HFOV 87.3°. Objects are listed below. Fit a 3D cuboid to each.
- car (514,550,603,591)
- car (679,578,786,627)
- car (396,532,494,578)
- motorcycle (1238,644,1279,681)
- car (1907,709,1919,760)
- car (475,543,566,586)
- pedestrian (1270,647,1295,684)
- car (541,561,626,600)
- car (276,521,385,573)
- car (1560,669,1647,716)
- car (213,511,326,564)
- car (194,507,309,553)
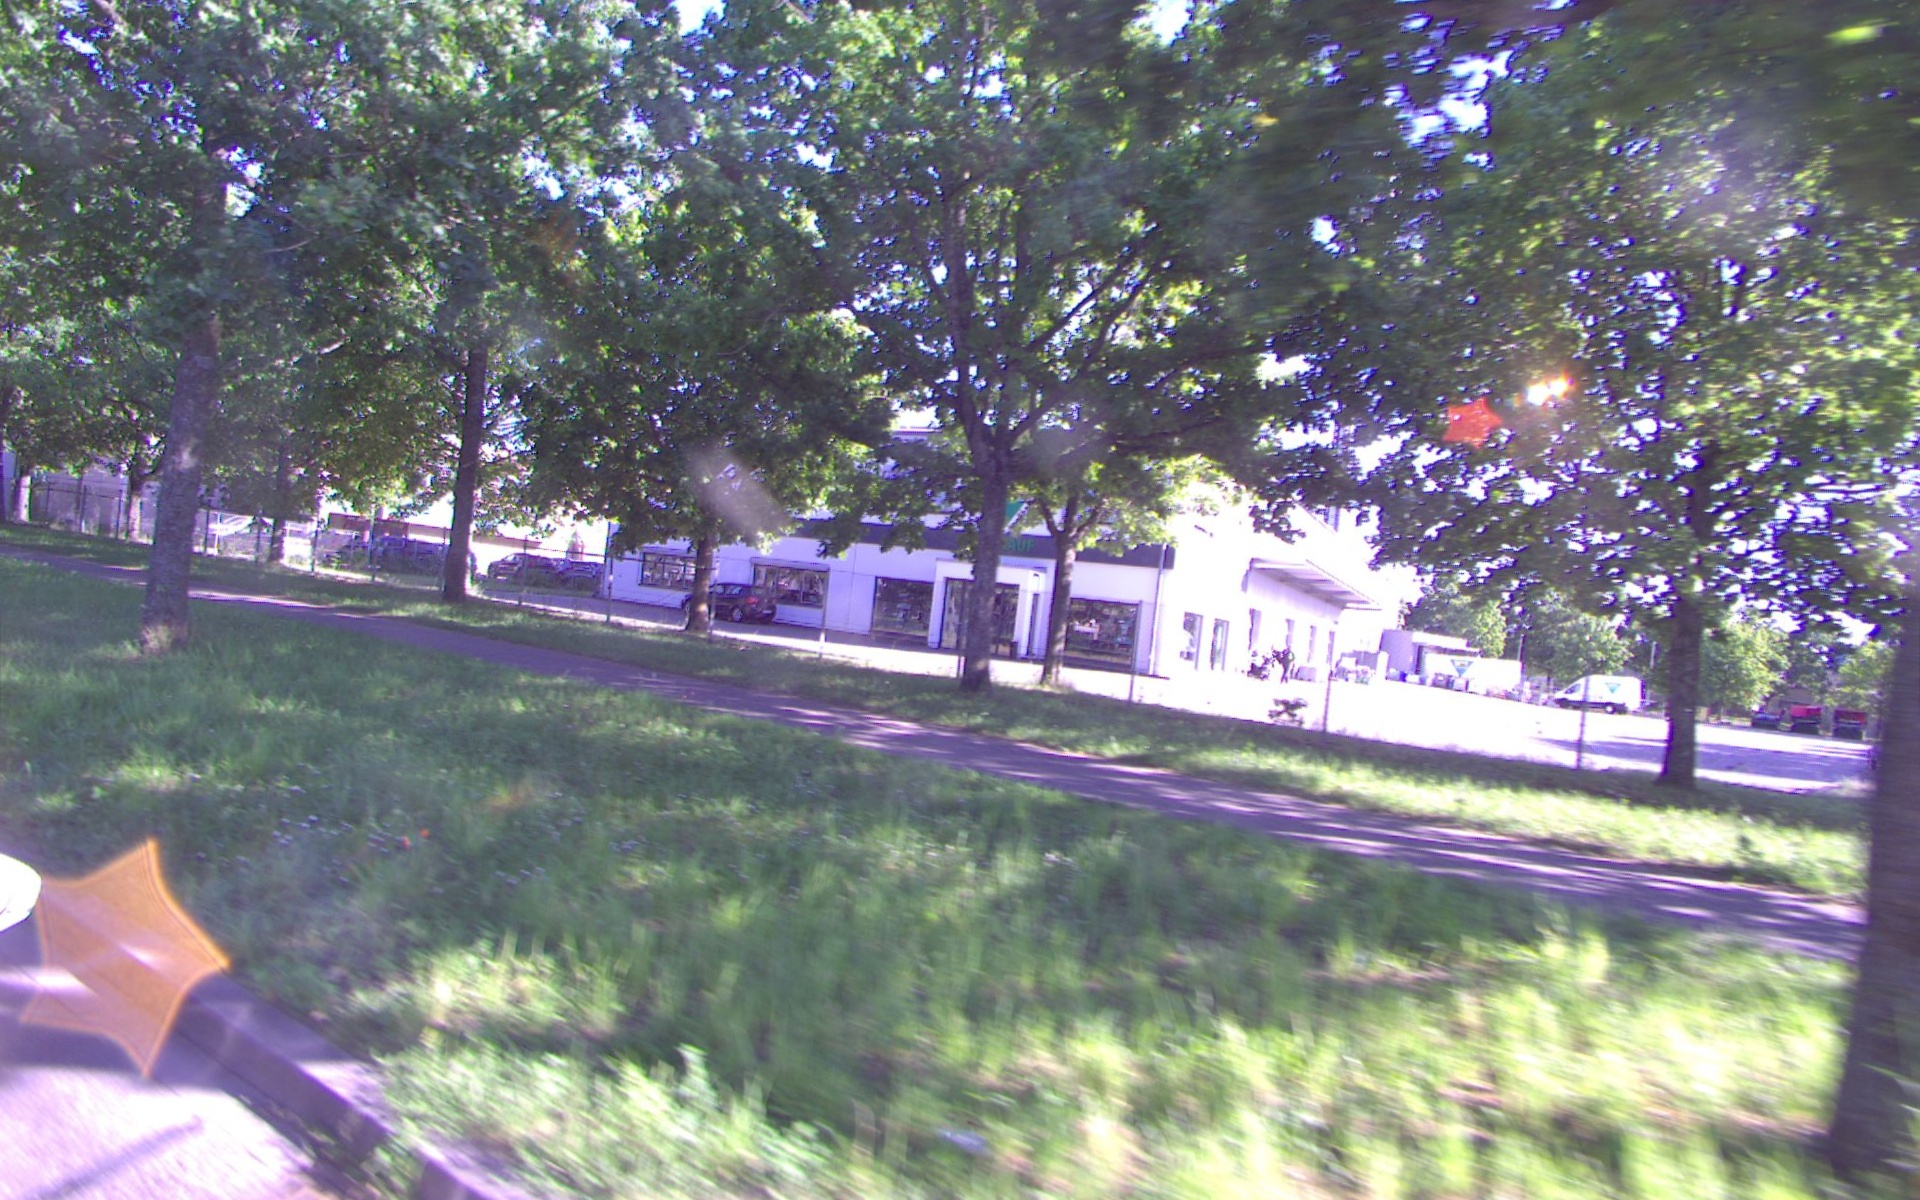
[{"bbox_3d":[-22.953,-1.710,57.530,4.562,1.766,2.188,7,0,29],"label":"car"},{"bbox_3d":[-8.805,0.099,38.945,3.702,1.401,1.768,7,0,28],"label":"car"},{"bbox_3d":[-26.412,-2.296,51.576,4.562,1.766,2.188,7,0,29],"label":"car"},{"bbox_3d":[12.798,2.688,43.150,1.979,1.450,0.649,7,0,-44],"label":"motorcycle"},{"bbox_3d":[40.830,5.701,39.813,1.988,2.011,4.675,6,0,-44],"label":"car"},{"bbox_3d":[-24.236,-1.965,55.459,4.562,1.766,2.188,7,0,29],"label":"car"},{"bbox_3d":[13.748,2.791,42.898,0.708,1.451,0.748,7,1,30],"label":"pedestrian"},{"bbox_3d":[-22.394,-1.169,59.791,4.562,1.766,2.188,7,0,29],"label":"car"},{"bbox_3d":[-28.909,-2.440,46.164,4.562,1.766,2.188,7,0,29],"label":"car"},{"bbox_3d":[47.796,6.853,74.812,2.143,2.732,4.814,6,0,-29],"label":"car"},{"bbox_3d":[-30.269,-2.744,44.092,4.562,1.766,2.188,7,0,29],"label":"car"},{"bbox_3d":[-38.973,-3.820,55.460,2.152,1.765,4.639,7,0,24],"label":"car"}]
